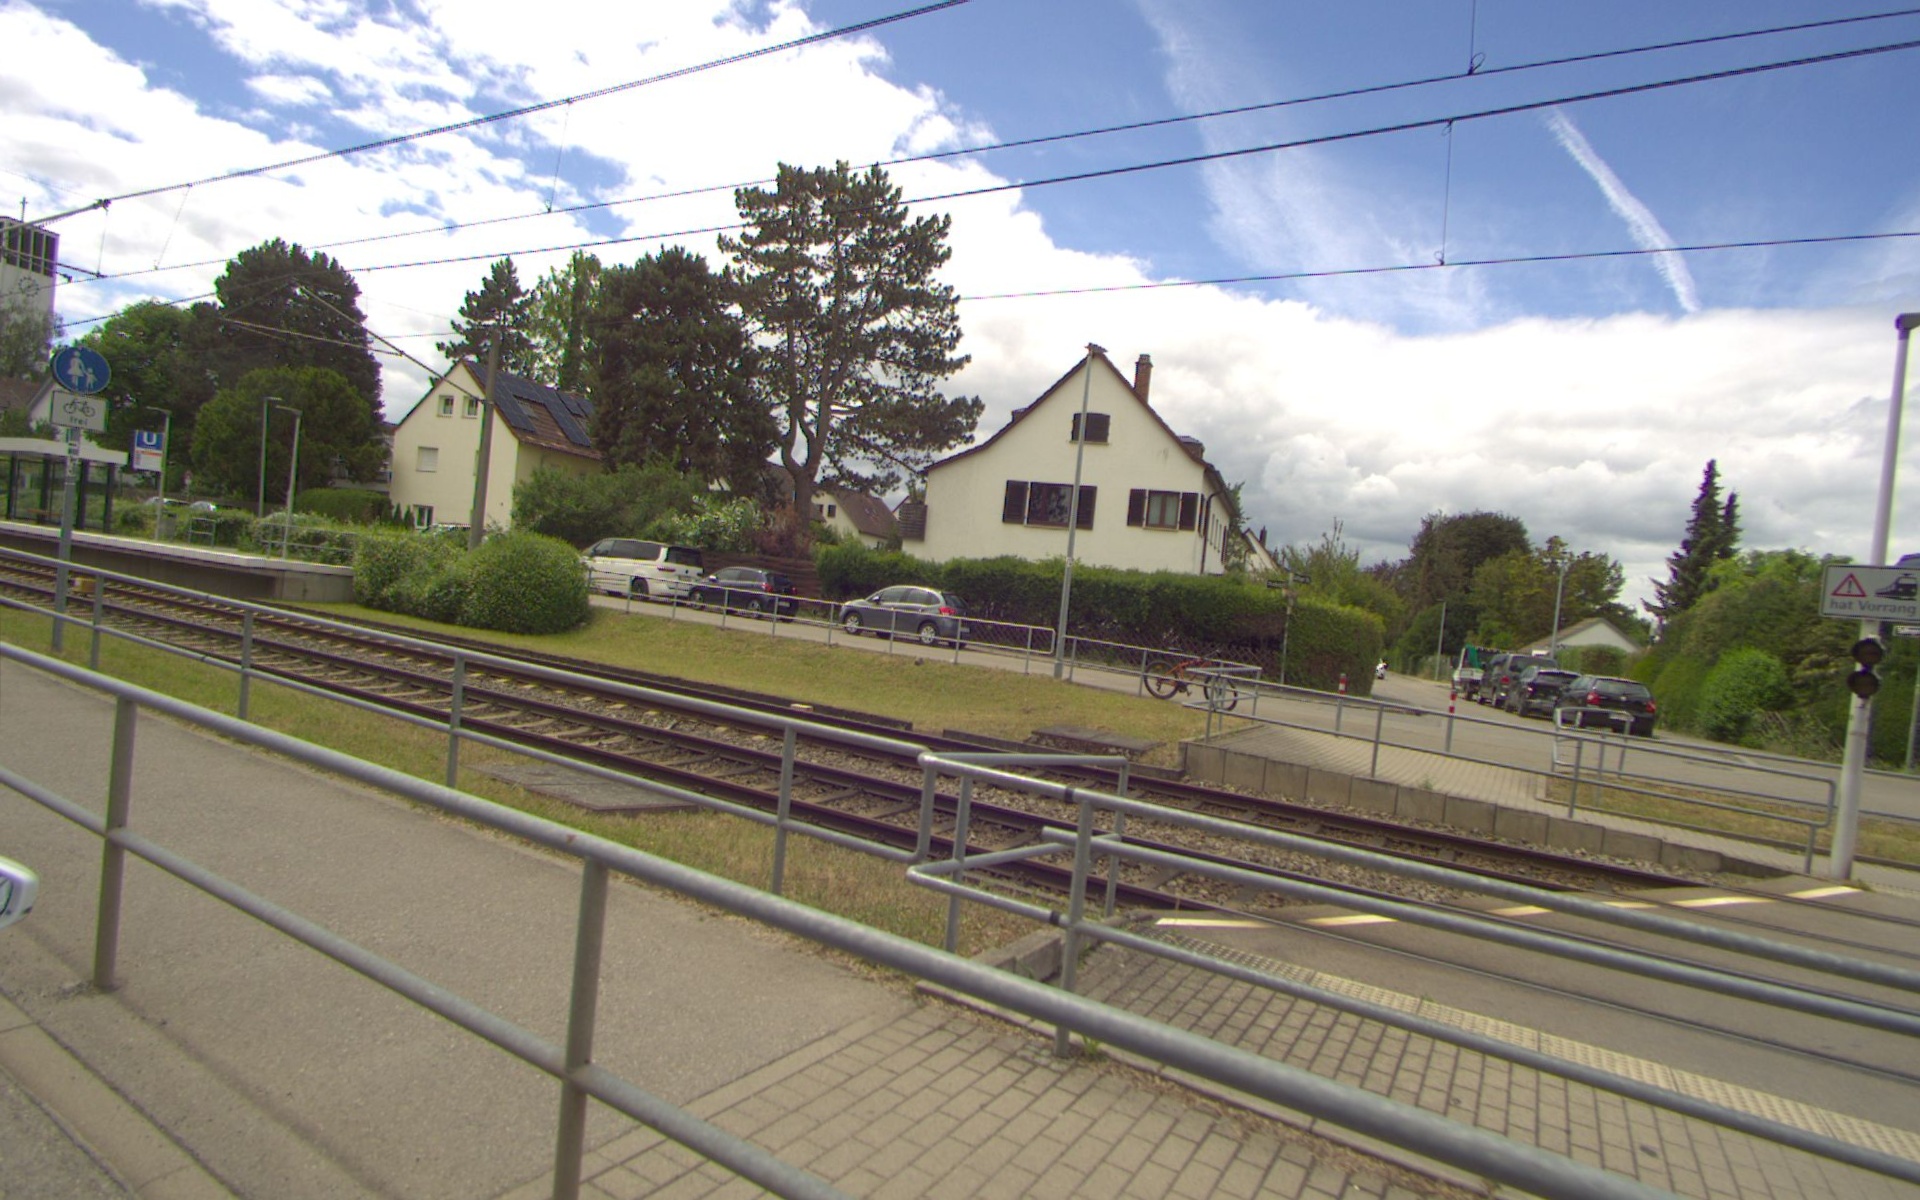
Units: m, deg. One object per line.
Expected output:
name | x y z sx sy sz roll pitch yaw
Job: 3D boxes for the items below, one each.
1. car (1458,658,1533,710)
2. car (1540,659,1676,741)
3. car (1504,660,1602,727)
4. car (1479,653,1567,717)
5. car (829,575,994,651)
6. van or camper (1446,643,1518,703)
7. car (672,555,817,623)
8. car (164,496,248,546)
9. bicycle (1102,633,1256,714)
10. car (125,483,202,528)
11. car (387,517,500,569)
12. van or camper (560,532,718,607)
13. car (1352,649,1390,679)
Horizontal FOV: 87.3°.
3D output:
car | 20.689 3.199 39.000 1.791 1.643 3.642 7 0 18
car | 16.560 2.493 25.910 1.791 1.643 3.732 7 0 16
car | 17.833 2.754 30.451 1.792 1.643 3.971 7 0 22
car | 19.654 2.908 35.257 1.791 1.887 3.642 7 0 18
car | -1.323 0.350 27.151 3.932 1.541 1.886 7 0 30
van or camper | 22.569 3.117 43.642 2.017 2.266 3.934 7 0 20
car | -6.487 -0.343 30.180 3.934 1.541 1.885 7 0 32
car | -35.837 -3.770 47.795 3.869 1.936 1.736 6 -2 31
bicycle | 3.774 1.260 17.511 2.498 1.058 0.538 7 1 32
car | -39.885 -4.741 50.356 3.869 1.773 1.734 7 0 32
car | -23.394 -2.538 45.739 1.715 1.970 4.333 7 3 25
van or camper | -10.426 -1.003 32.553 4.962 1.849 1.908 7 0 30
car | 27.303 4.232 66.930 1.962 1.682 4.000 7 0 19
